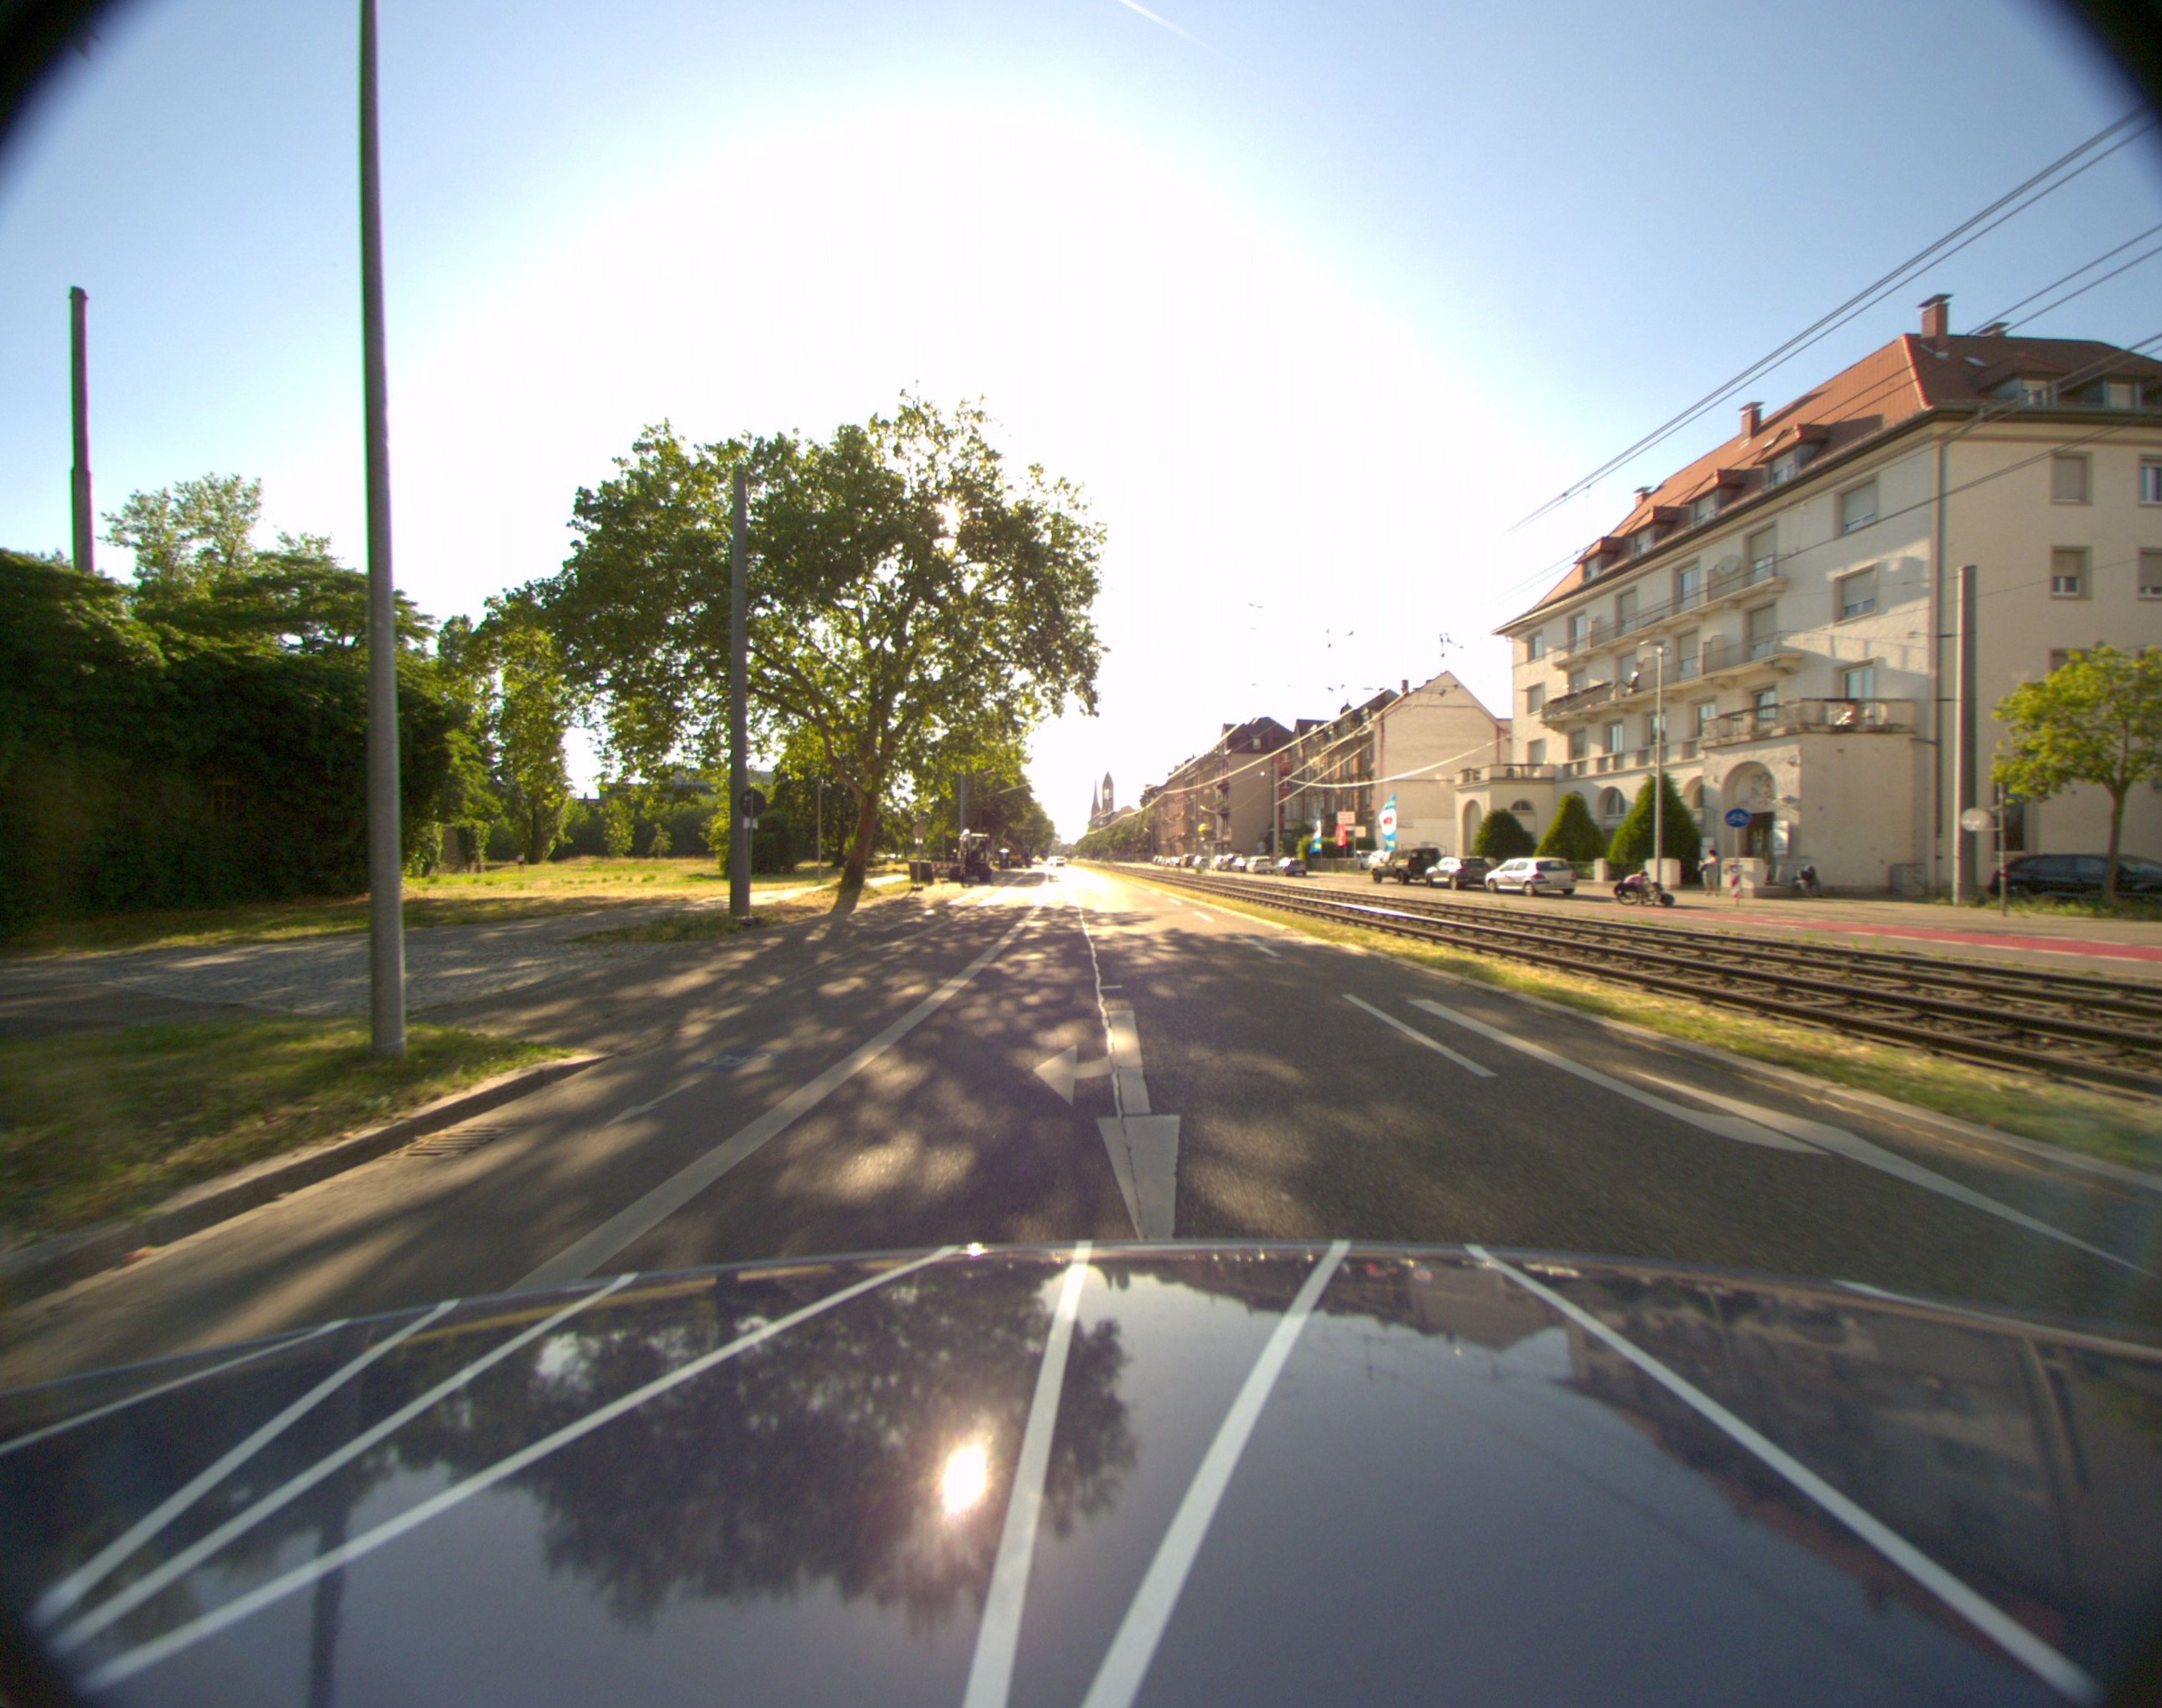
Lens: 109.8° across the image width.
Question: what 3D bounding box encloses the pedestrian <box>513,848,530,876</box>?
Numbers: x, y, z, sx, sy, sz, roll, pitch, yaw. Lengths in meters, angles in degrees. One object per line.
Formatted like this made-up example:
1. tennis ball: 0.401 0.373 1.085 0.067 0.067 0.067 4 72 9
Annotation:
1. pedestrian: -41.890 0.587 56.880 0.868 2.002 1.266 -3 1 -33

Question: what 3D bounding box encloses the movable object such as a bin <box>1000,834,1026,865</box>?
1. movable object such as a bin: -9.310 -0.556 104.846 3.348 3.953 7.595 3 0 -4

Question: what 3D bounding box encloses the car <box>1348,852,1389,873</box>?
1. car: 25.213 0.698 66.804 1.908 1.646 4.561 1 2 1

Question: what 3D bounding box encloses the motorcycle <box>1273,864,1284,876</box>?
1. motorcycle: 17.435 1.407 67.154 0.827 0.948 2.153 -1 1 12

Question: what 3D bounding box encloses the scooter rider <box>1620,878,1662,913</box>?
1. scooter rider: 18.022 1.321 24.463 0.976 1.082 0.810 1 0 29

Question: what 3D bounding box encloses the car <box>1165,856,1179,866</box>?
1. car: 14.893 1.122 124.394 1.664 1.437 3.980 -1 0 -2

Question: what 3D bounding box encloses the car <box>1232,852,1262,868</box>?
1. car: 16.882 0.585 77.339 1.925 1.551 4.842 -1 0 0

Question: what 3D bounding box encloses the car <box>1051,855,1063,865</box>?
1. car: -3.953 0.986 123.181 1.799 1.501 3.999 -2 0 -3

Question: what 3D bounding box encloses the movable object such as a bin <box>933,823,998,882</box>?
1. movable object such as a bin: -6.729 -0.058 45.439 2.751 3.127 7.218 3 0 -1

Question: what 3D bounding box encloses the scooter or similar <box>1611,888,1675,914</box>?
1. scooter or similar: 18.058 1.502 24.447 1.565 0.766 0.810 1 0 29

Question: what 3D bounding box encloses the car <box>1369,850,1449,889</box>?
1. car: 18.413 0.825 42.982 2.082 1.998 5.591 -2 0 0

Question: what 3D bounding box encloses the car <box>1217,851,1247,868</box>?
1. car: 16.535 0.570 83.516 1.926 1.770 4.495 -1 0 -6

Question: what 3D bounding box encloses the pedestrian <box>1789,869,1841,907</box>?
1. pedestrian: 24.479 1.112 25.349 0.879 1.180 0.894 -2 1 -10

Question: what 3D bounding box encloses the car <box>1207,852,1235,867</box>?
1. car: 16.278 0.655 88.548 1.926 1.673 4.626 0 -1 -5

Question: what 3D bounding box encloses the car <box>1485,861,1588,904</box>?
1. car: 18.550 1.106 31.168 1.799 1.501 3.999 -2 1 -1

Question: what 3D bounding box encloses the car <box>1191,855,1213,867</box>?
1. car: 16.120 0.871 101.458 1.926 1.529 4.626 -1 0 -2

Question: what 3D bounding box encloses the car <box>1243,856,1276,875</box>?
1. car: 16.842 1.060 71.776 1.925 1.684 4.842 -1 0 0

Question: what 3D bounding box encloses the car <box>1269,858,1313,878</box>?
1. car: 17.193 1.109 62.458 1.926 1.452 4.840 -5 0 -4

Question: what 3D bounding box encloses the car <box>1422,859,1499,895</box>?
1. car: 18.250 1.067 36.761 1.639 1.498 4.158 -2 1 0

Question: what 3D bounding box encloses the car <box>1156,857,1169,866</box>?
1. car: 14.377 1.359 134.094 1.664 1.437 3.764 -1 0 -2

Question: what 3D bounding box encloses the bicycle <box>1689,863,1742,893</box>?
1. bicycle: 24.390 0.896 29.231 0.465 1.081 1.623 -2 1 -10

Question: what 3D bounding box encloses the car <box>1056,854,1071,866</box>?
1. car: -2.316 0.812 99.258 1.799 1.501 3.999 -2 0 -3

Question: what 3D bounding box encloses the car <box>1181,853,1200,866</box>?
1. car: 15.543 0.760 107.969 1.664 1.797 4.727 -1 0 -4

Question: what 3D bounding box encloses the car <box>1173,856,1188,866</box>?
1. car: 14.856 0.992 113.675 1.664 1.437 3.980 -1 0 -2

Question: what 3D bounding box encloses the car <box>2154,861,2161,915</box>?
1. car: 34.061 1.092 21.443 1.799 1.649 3.998 1 1 -3

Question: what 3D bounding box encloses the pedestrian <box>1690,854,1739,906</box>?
1. pedestrian: 22.322 0.886 26.796 0.995 1.767 0.934 -2 1 -17

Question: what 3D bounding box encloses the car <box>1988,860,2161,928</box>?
1. car: 28.631 1.065 21.030 1.799 1.631 4.260 1 1 -3

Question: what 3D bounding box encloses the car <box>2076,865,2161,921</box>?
1. car: 31.384 1.153 21.231 1.799 1.502 3.998 1 1 -3

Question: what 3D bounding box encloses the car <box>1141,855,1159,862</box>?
1. car: 16.554 1.136 182.117 3.991 1.502 1.802 -1 1 19

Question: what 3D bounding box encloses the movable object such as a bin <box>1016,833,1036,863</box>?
1. movable object such as a bin: -9.094 -0.910 124.787 2.923 4.583 7.595 3 0 -4

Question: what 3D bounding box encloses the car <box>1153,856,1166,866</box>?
1. car: 14.352 1.231 138.757 1.799 1.633 4.630 -1 0 0

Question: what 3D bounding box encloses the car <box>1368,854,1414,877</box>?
1. car: 24.736 0.888 60.850 1.908 1.646 4.561 1 2 1
